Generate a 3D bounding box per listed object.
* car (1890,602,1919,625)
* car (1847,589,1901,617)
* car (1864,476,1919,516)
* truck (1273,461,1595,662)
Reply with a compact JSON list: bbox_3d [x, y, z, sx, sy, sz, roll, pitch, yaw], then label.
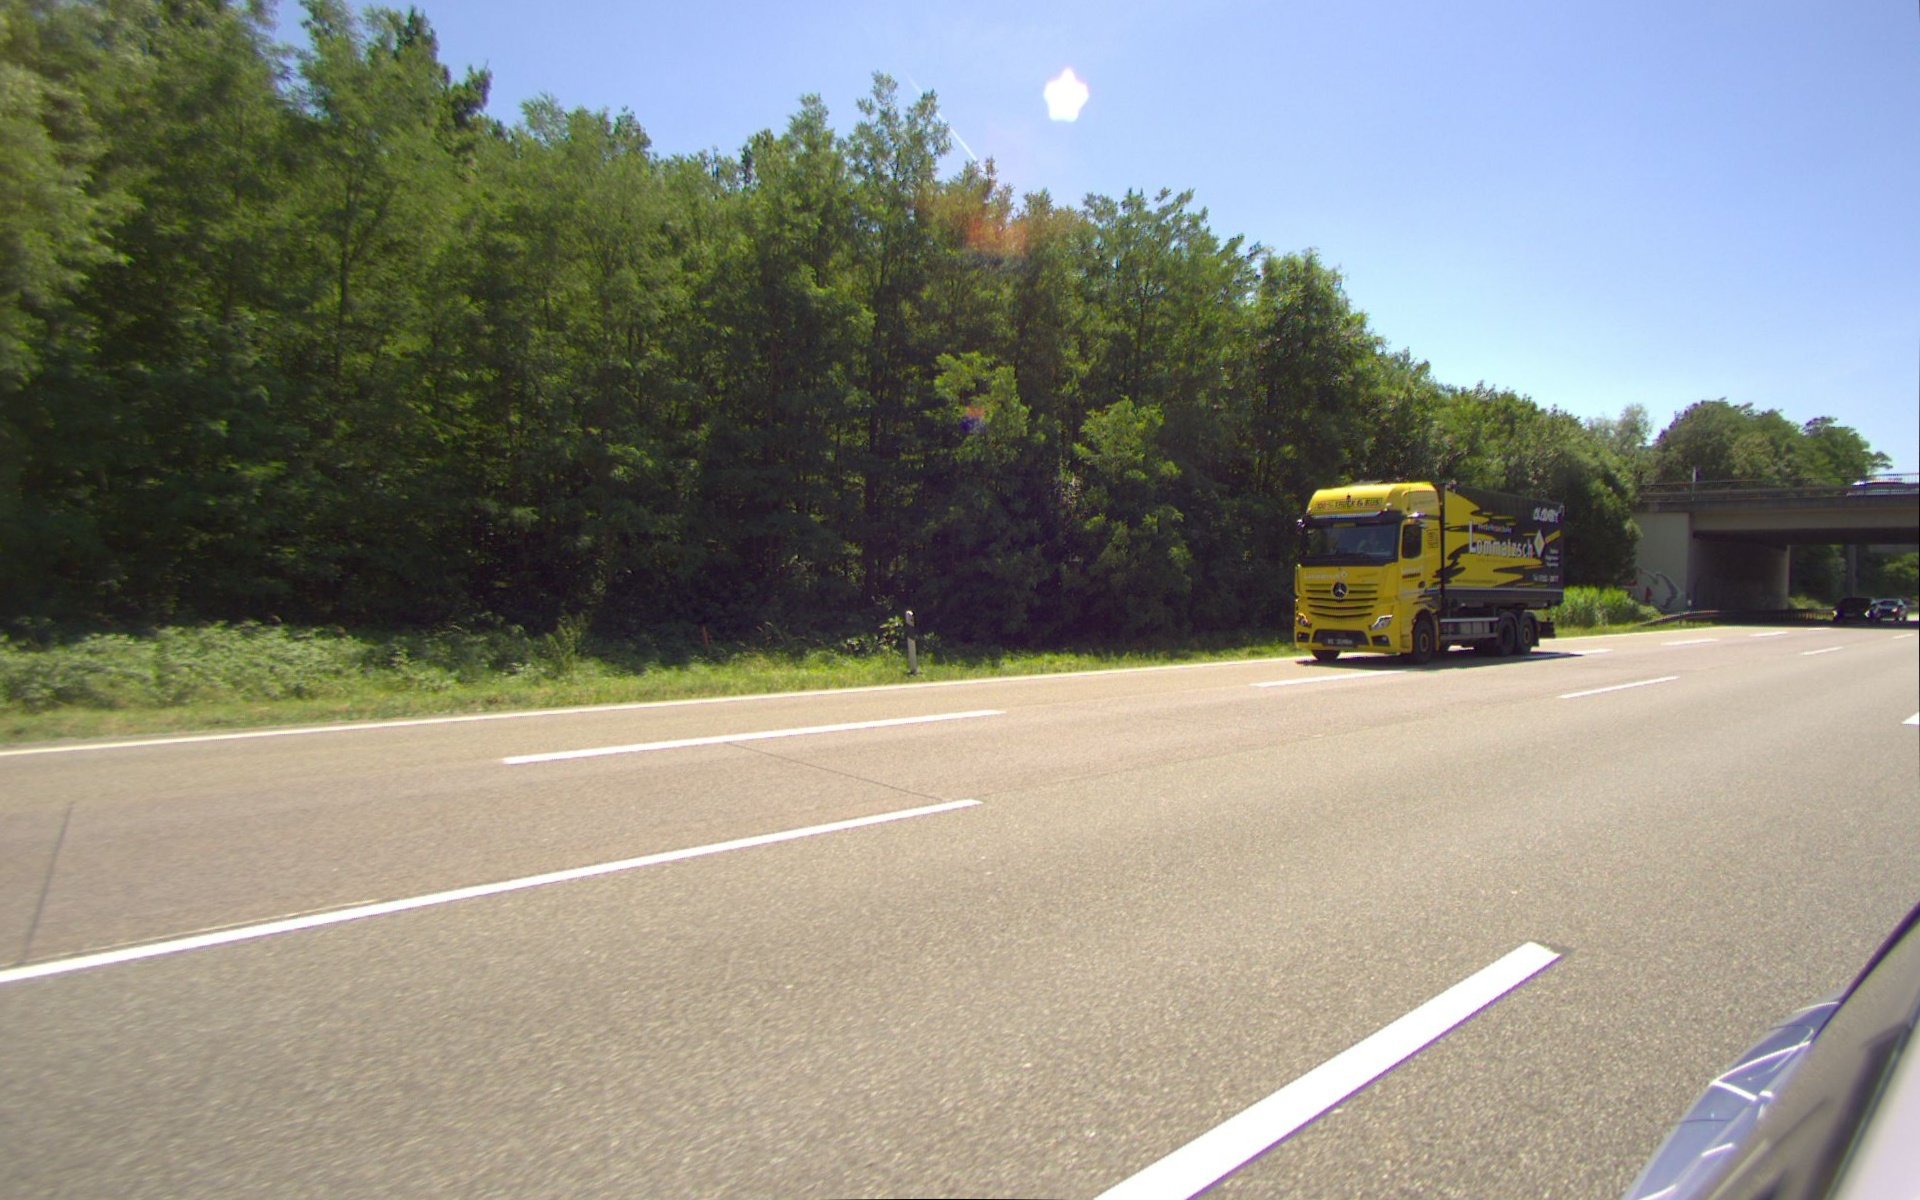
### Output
[{"bbox_3d":[64.591,0.915,68.666,4.494,1.465,1.673,-1,1,-41],"label":"car"},{"bbox_3d":[54.290,0.160,60.084,4.128,1.575,1.873,-1,1,-41],"label":"car"},{"bbox_3d":[54.742,-5.992,58.173,1.967,2.039,3.991,0,0,-43],"label":"car"},{"bbox_3d":[12.148,-0.820,25.131,10.787,4.088,2.980,-1,0,-40],"label":"truck"}]
